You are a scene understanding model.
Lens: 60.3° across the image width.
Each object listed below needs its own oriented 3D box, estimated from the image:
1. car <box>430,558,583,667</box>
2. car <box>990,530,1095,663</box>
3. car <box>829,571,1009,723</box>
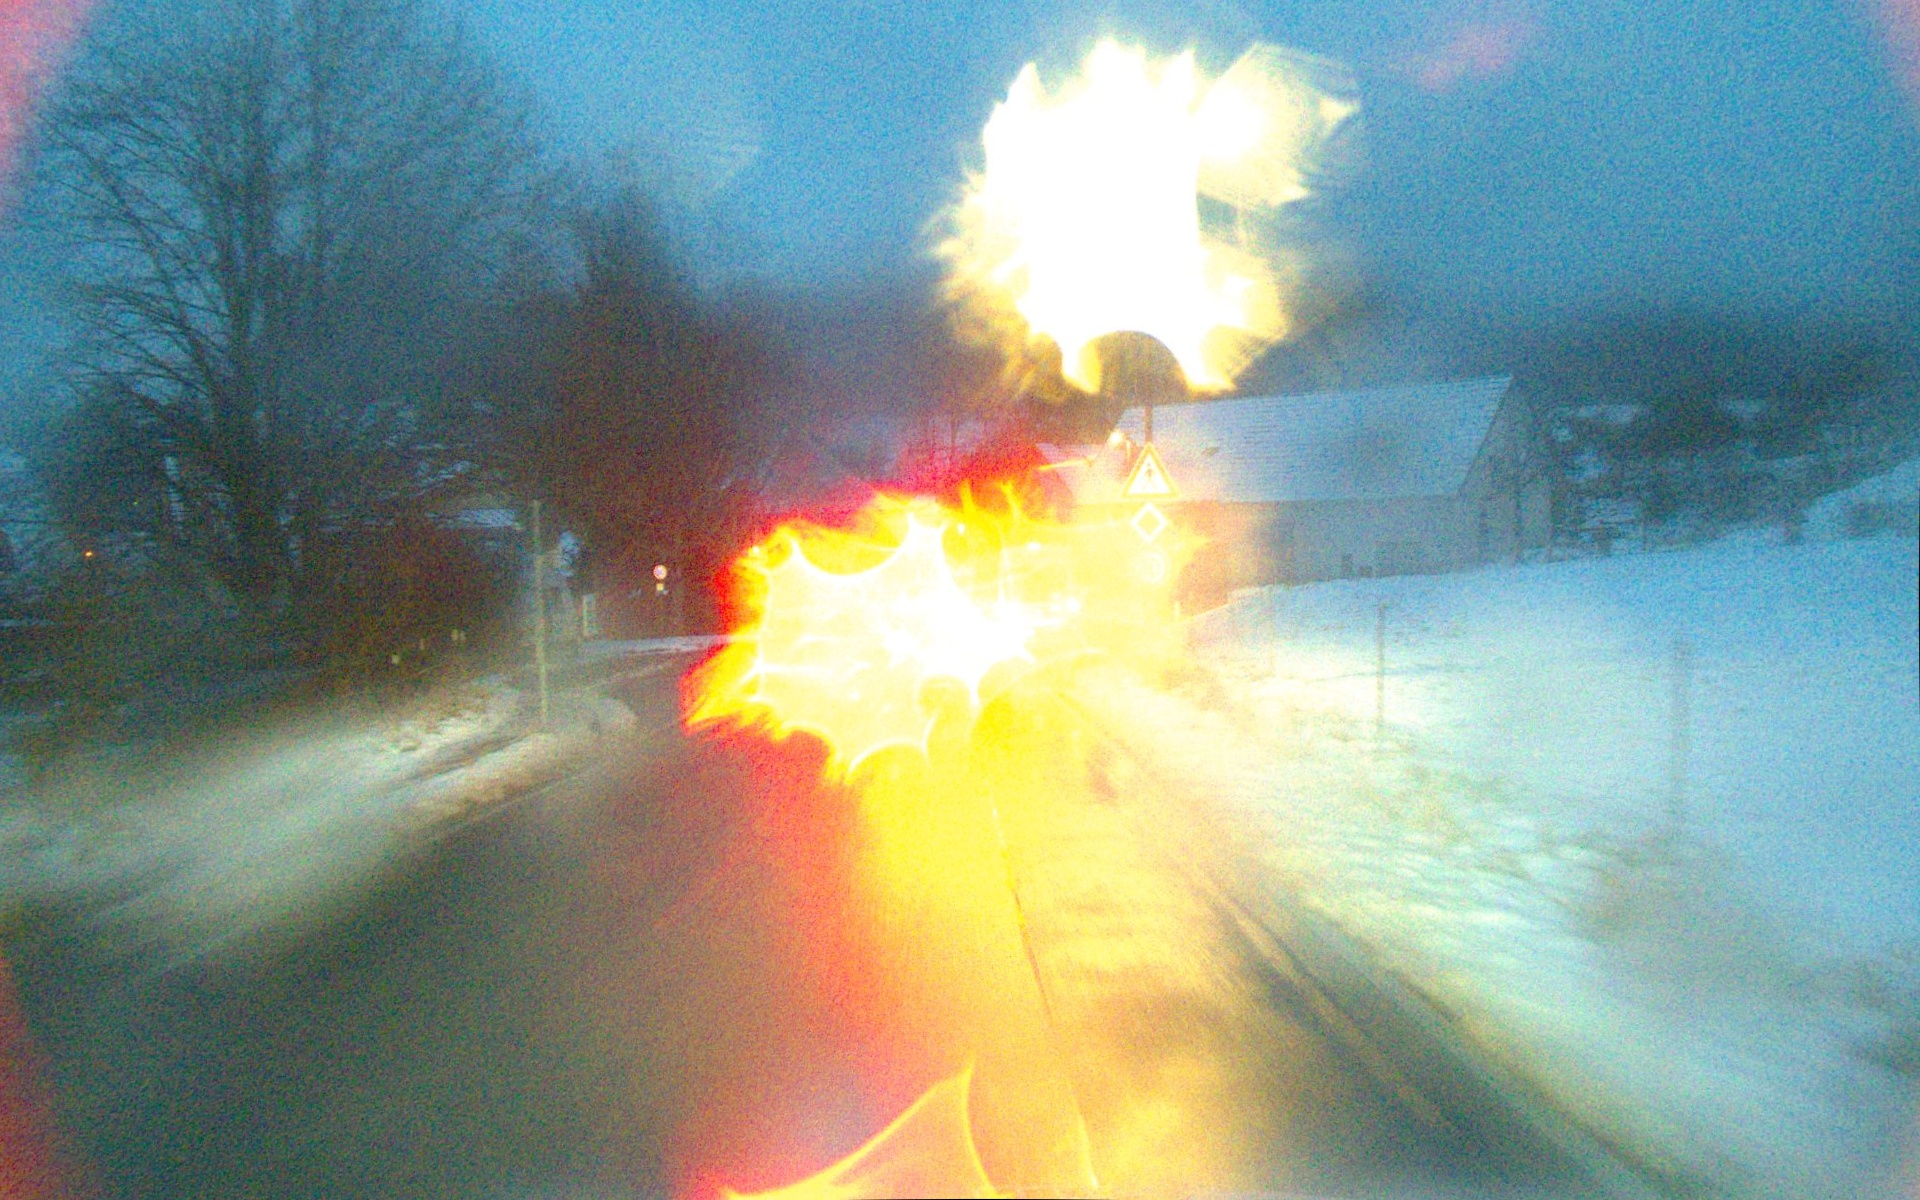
[{"bbox_3d":[-11.735,0.323,43.328,2.419,2.616,6.226,-1,0,-2],"label":"car"},{"bbox_3d":[2.058,-0.027,42.011,2.385,3.071,5.326,-2,-1,2],"label":"car"},{"bbox_3d":[-0.592,0.599,23.049,2.228,1.873,5.004,0,0,-2],"label":"car"}]
